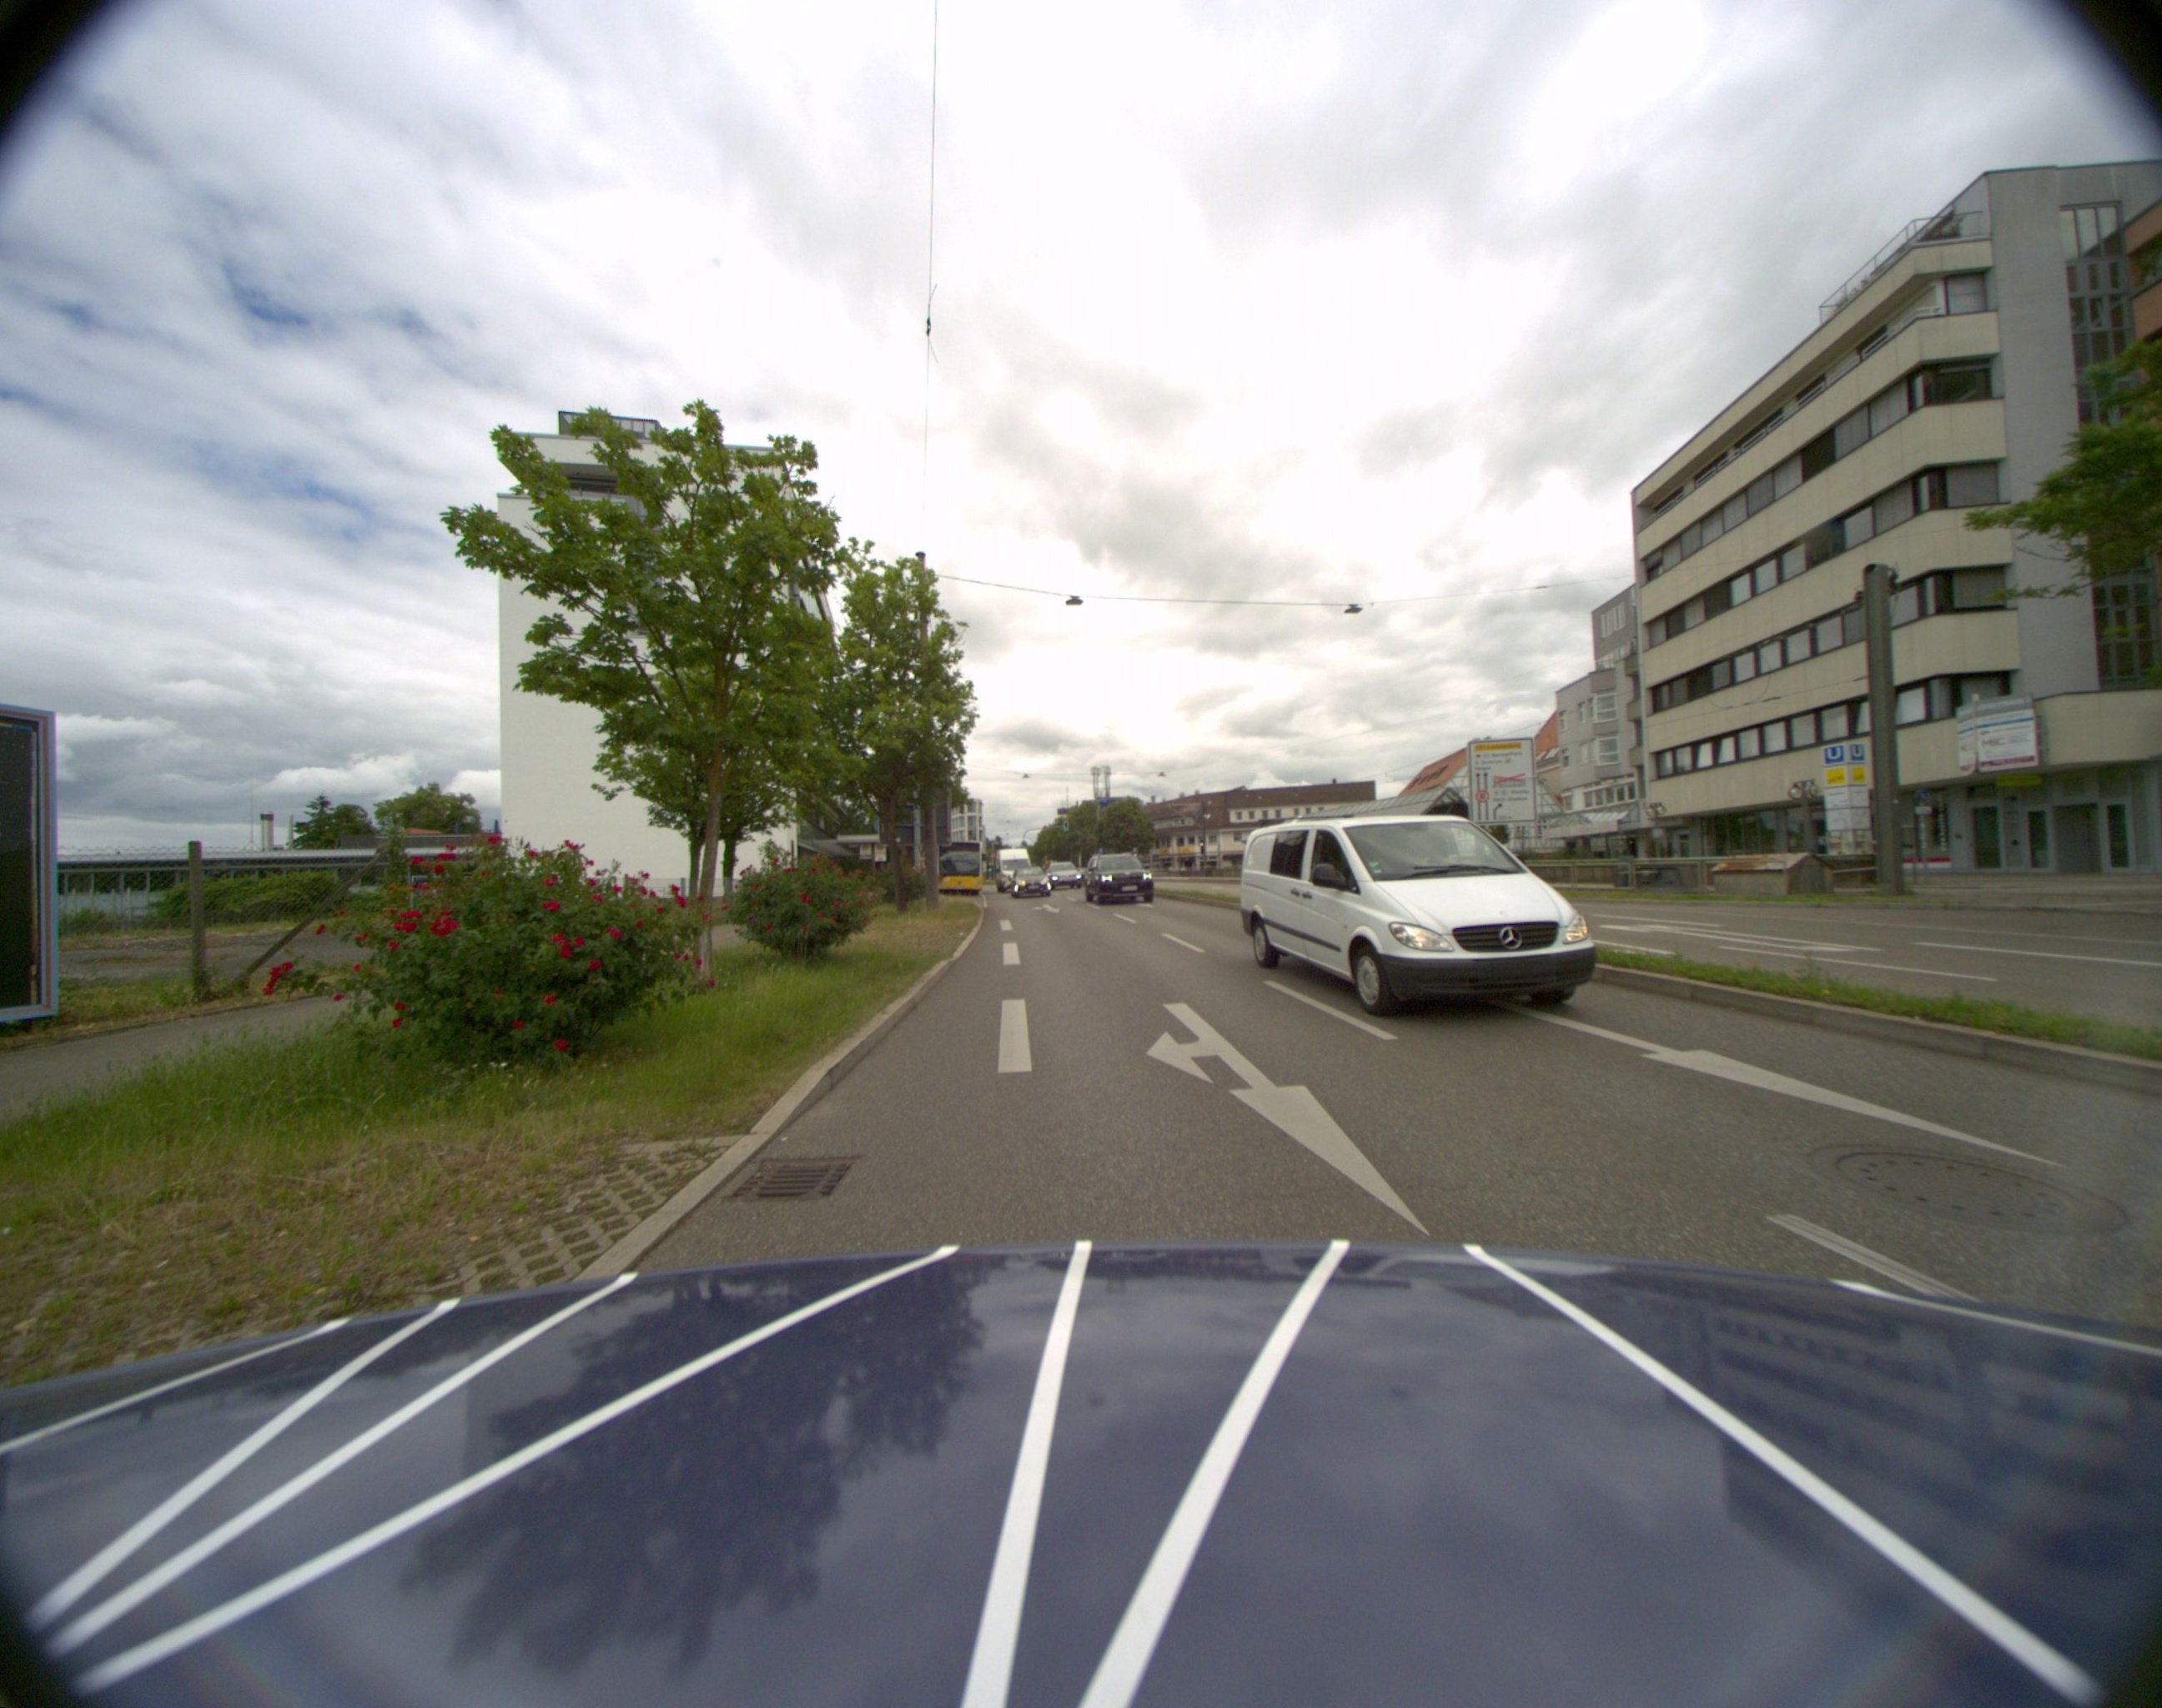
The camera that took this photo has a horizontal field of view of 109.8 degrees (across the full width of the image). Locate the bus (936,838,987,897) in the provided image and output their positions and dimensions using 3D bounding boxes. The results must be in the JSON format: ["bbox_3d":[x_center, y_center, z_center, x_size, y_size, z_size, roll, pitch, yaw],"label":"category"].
[{"bbox_3d":[-7.267,0.849,45.705,2.721,3.144,9.121,1,-2,-10],"label":"bus"}]

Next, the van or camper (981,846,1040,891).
[{"bbox_3d":[-4.693,0.968,49.001,2.283,2.690,6.986,-1,-1,-18],"label":"van or camper"}]

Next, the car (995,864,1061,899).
[{"bbox_3d":[-2.630,1.320,36.688,1.867,1.516,3.993,-1,-1,-24],"label":"car"}]

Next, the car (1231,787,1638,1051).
[{"bbox_3d":[3.331,0.535,8.576,1.879,2.002,5.074,-3,0,-4],"label":"car"}]

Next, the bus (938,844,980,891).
[{"bbox_3d":[-8.855,1.012,54.588,2.721,3.090,8.864,0,-1,-10],"label":"bus"}]

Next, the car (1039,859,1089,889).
[{"bbox_3d":[-1.096,1.240,46.671,2.001,1.640,4.389,-4,0,-15],"label":"car"}]

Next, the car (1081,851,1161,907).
[{"bbox_3d":[1.341,0.847,27.390,1.928,1.741,4.675,-4,0,-8],"label":"car"}]
